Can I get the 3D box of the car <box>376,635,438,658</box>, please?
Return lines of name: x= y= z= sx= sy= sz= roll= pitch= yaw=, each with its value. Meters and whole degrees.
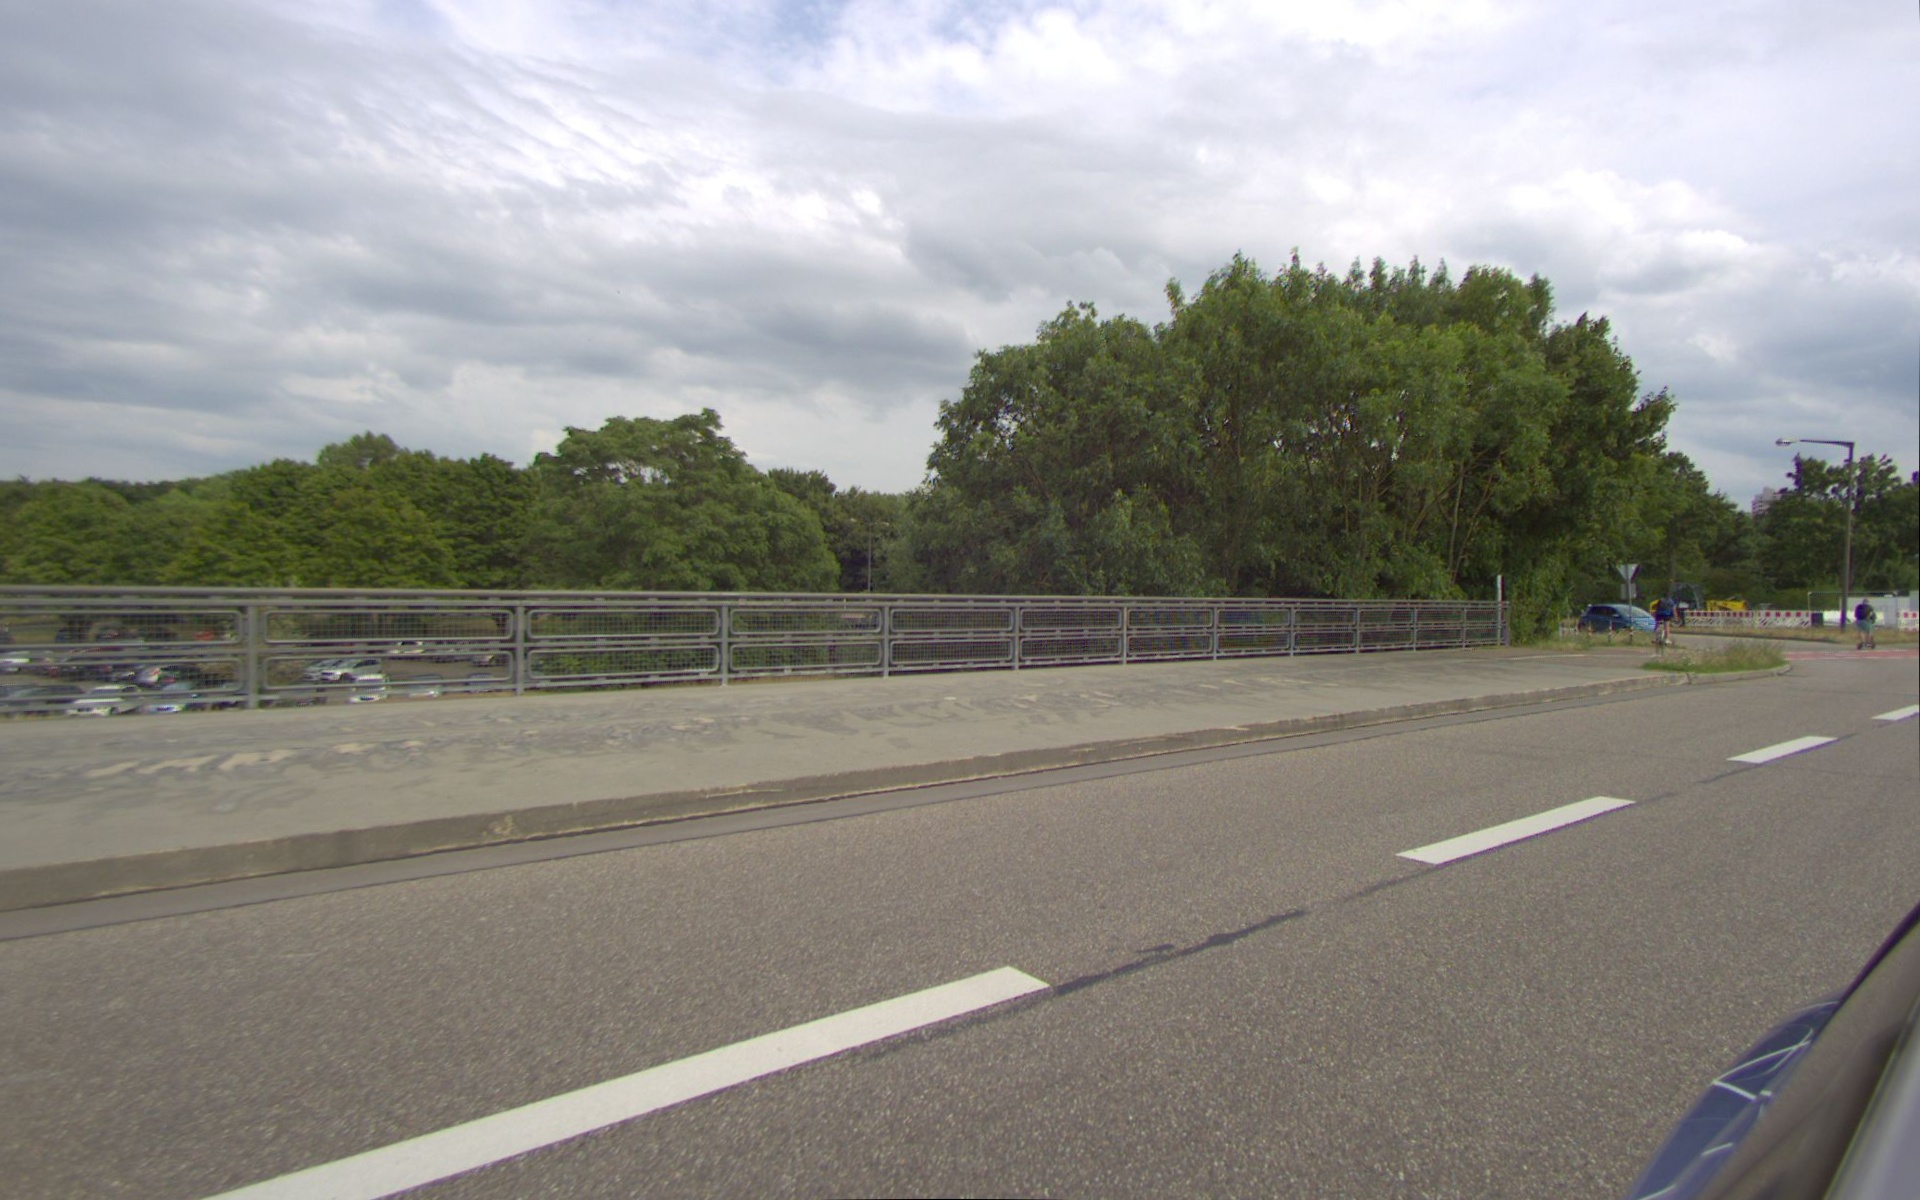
car: x=-44.433 y=3.723 z=81.318 sx=1.983 sy=1.594 sz=3.957 roll=0 pitch=0 yaw=30

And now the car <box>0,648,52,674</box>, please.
car: x=-66.880 y=4.289 z=71.295 sx=1.984 sy=1.594 sz=3.956 roll=0 pitch=0 yaw=31

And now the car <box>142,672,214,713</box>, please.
car: x=-39.068 y=4.601 z=50.655 sx=1.958 sy=1.594 sz=4.007 roll=0 pitch=0 yaw=-24

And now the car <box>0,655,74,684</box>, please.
car: x=-61.673 y=4.581 z=67.140 sx=1.984 sy=1.594 sz=3.956 roll=0 pitch=0 yaw=31

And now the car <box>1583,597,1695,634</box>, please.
car: x=30.346 y=0.666 z=45.363 sx=1.840 sy=1.537 sz=4.007 roll=0 pitch=1 yaw=-11

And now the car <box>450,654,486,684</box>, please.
car: x=-32.036 y=4.476 z=65.948 sx=1.958 sy=1.594 sz=4.007 roll=0 pitch=0 yaw=-24

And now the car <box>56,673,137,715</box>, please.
car: x=-42.462 y=4.585 z=49.867 sx=1.958 sy=1.594 sz=4.007 roll=0 pitch=0 yaw=-24

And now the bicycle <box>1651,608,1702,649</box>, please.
bicycle: x=20.391 y=0.826 z=28.774 sx=1.939 sy=1.034 sz=0.578 roll=4 pitch=2 yaw=-38

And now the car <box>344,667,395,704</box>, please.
car: x=-31.918 y=4.606 z=54.821 sx=1.958 sy=1.594 sz=4.007 roll=0 pitch=0 yaw=-24

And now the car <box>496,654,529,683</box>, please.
car: x=-29.544 y=4.484 z=66.797 sx=1.958 sy=1.594 sz=4.007 roll=0 pitch=0 yaw=-24

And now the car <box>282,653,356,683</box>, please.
car: x=-41.923 y=4.432 z=66.261 sx=1.967 sy=1.594 sz=3.990 roll=0 pitch=0 yaw=9

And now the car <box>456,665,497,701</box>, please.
car: x=-27.104 y=4.625 z=56.803 sx=1.958 sy=1.594 sz=4.007 roll=0 pitch=0 yaw=-24

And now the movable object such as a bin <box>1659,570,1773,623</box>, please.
movable object such as a bin: x=40.966 y=-0.211 z=54.950 sx=2.061 sy=2.723 sz=4.519 roll=0 pitch=1 yaw=-33

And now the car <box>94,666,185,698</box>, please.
car: x=-50.455 y=5.017 z=62.311 sx=1.984 sy=1.594 sz=3.956 roll=0 pitch=0 yaw=31

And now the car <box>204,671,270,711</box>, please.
car: x=-36.713 y=4.609 z=51.490 sx=1.958 sy=1.594 sz=4.007 roll=0 pitch=0 yaw=-24

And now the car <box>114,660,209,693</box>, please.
car: x=-47.161 y=4.488 z=59.841 sx=1.984 sy=1.594 sz=3.956 roll=0 pitch=0 yaw=31

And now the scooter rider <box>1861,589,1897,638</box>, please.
scooter rider: x=32.272 y=0.477 z=35.549 sx=0.728 sy=1.712 sz=0.590 roll=0 pitch=0 yaw=-7

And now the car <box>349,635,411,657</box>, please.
car: x=-46.827 y=3.702 z=81.772 sx=1.983 sy=1.594 sz=3.957 roll=0 pitch=0 yaw=30

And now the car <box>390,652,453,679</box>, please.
car: x=-38.248 y=4.654 z=72.000 sx=1.967 sy=1.594 sz=3.990 roll=0 pitch=0 yaw=9

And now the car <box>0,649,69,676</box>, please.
car: x=-64.669 y=4.320 z=70.194 sx=1.984 sy=1.594 sz=3.956 roll=0 pitch=0 yaw=31

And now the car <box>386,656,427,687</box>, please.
car: x=-34.784 y=4.481 z=63.711 sx=1.958 sy=1.594 sz=4.007 roll=0 pitch=0 yaw=-24

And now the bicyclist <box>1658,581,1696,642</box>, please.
bicyclist: x=20.395 y=0.331 z=28.780 sx=0.790 sy=1.681 sz=0.666 roll=4 pitch=-2 yaw=-38

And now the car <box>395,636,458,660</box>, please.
car: x=-42.098 y=3.756 z=79.897 sx=1.983 sy=1.594 sz=3.957 roll=0 pitch=0 yaw=30

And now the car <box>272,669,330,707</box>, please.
car: x=-34.681 y=4.603 z=53.353 sx=1.958 sy=1.594 sz=4.007 roll=0 pitch=0 yaw=-24

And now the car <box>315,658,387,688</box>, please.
car: x=-39.622 y=4.714 z=65.961 sx=1.967 sy=1.594 sz=3.990 roll=0 pitch=0 yaw=9

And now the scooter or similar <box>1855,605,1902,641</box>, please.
scooter or similar: x=32.248 y=0.816 z=35.547 sx=1.178 sy=1.240 sz=0.590 roll=0 pitch=0 yaw=-7
